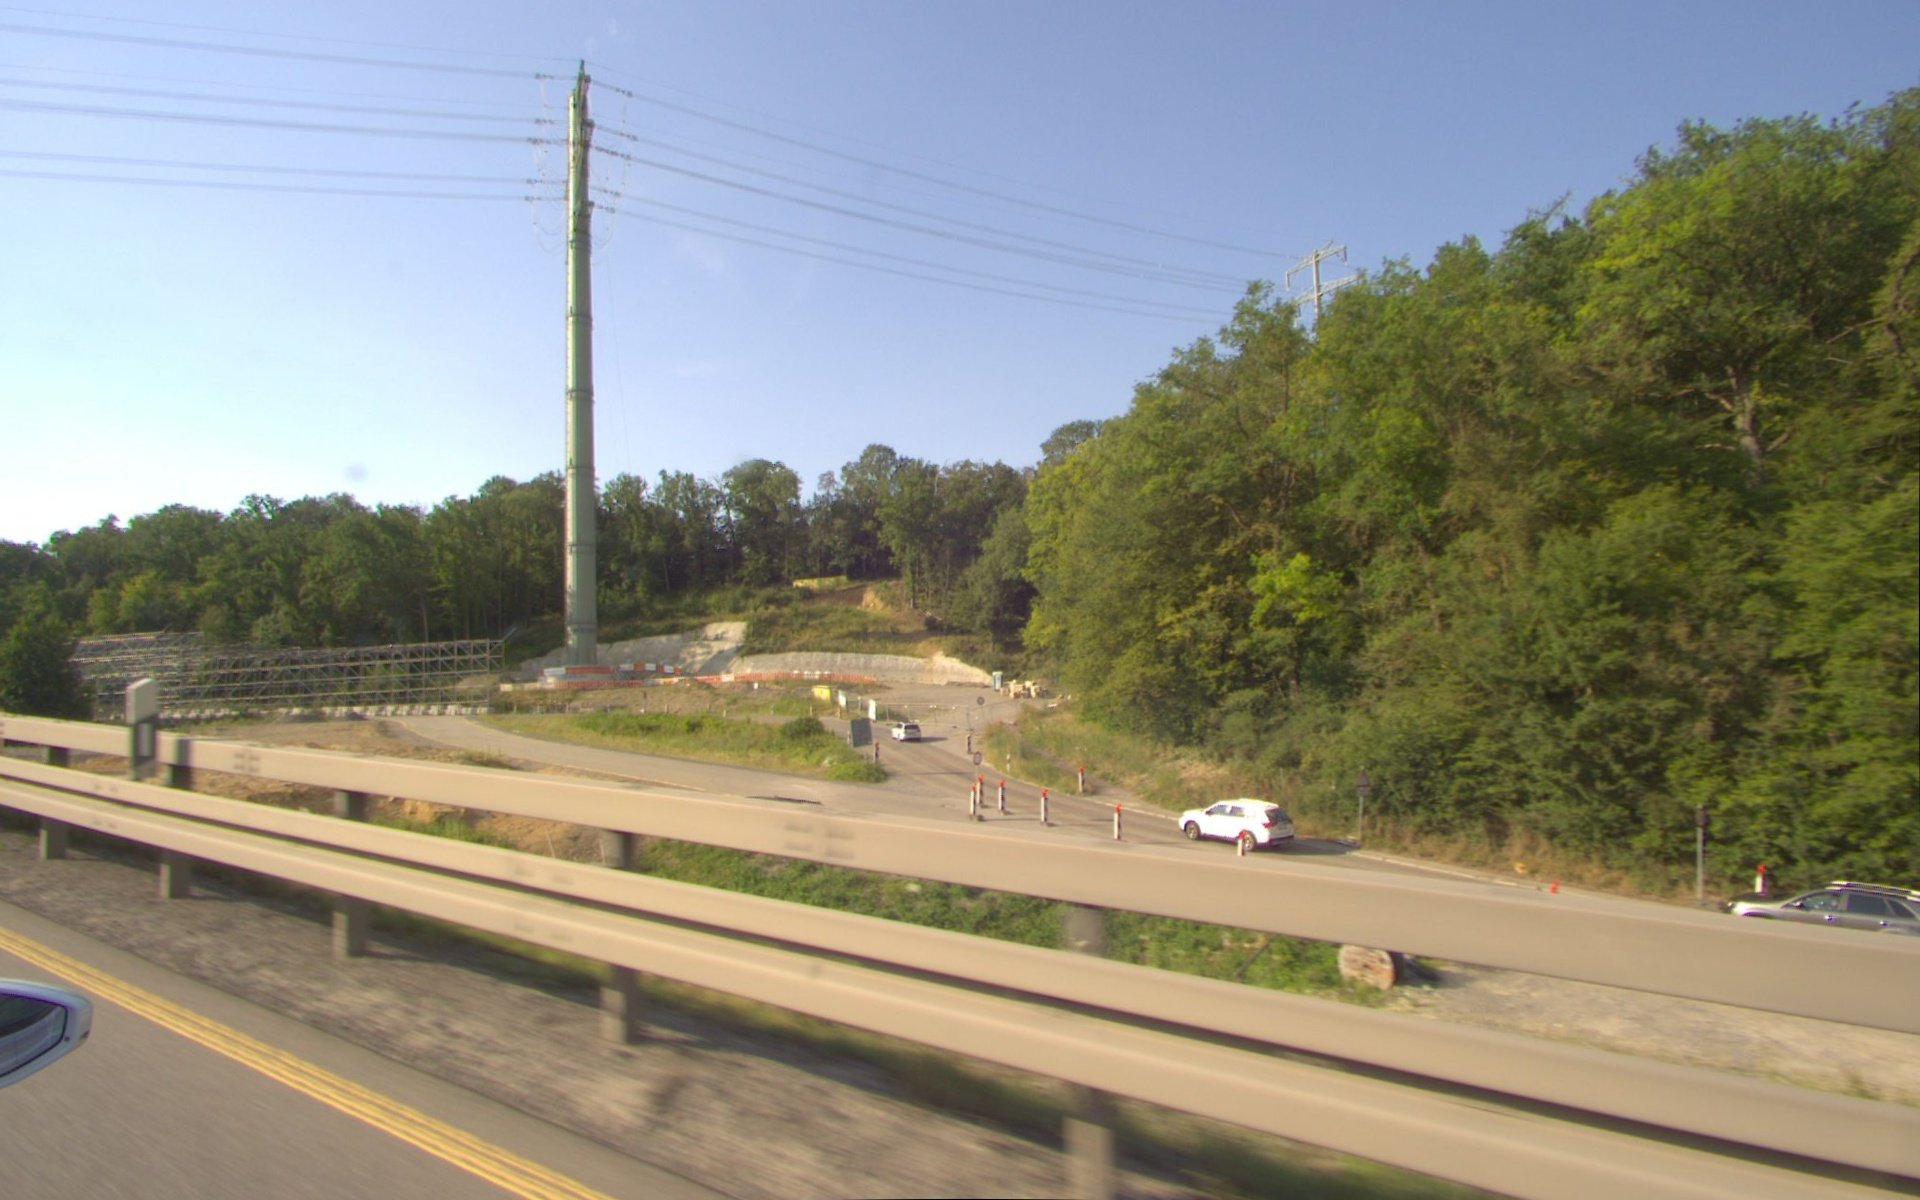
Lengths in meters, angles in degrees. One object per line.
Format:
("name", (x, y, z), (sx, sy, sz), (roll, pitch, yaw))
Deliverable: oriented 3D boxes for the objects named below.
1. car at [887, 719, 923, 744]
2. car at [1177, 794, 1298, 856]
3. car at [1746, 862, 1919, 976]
("car", (-4.364, 10.349, 79.063), (1.505, 1.479, 4.257), (-1, -2, -22))
("car", (10.582, 8.550, 38.439), (1.653, 1.681, 4.443), (3, -5, -36))
("car", (22.361, 7.871, 24.652), (1.848, 1.807, 4.460), (1, -2, -41))
